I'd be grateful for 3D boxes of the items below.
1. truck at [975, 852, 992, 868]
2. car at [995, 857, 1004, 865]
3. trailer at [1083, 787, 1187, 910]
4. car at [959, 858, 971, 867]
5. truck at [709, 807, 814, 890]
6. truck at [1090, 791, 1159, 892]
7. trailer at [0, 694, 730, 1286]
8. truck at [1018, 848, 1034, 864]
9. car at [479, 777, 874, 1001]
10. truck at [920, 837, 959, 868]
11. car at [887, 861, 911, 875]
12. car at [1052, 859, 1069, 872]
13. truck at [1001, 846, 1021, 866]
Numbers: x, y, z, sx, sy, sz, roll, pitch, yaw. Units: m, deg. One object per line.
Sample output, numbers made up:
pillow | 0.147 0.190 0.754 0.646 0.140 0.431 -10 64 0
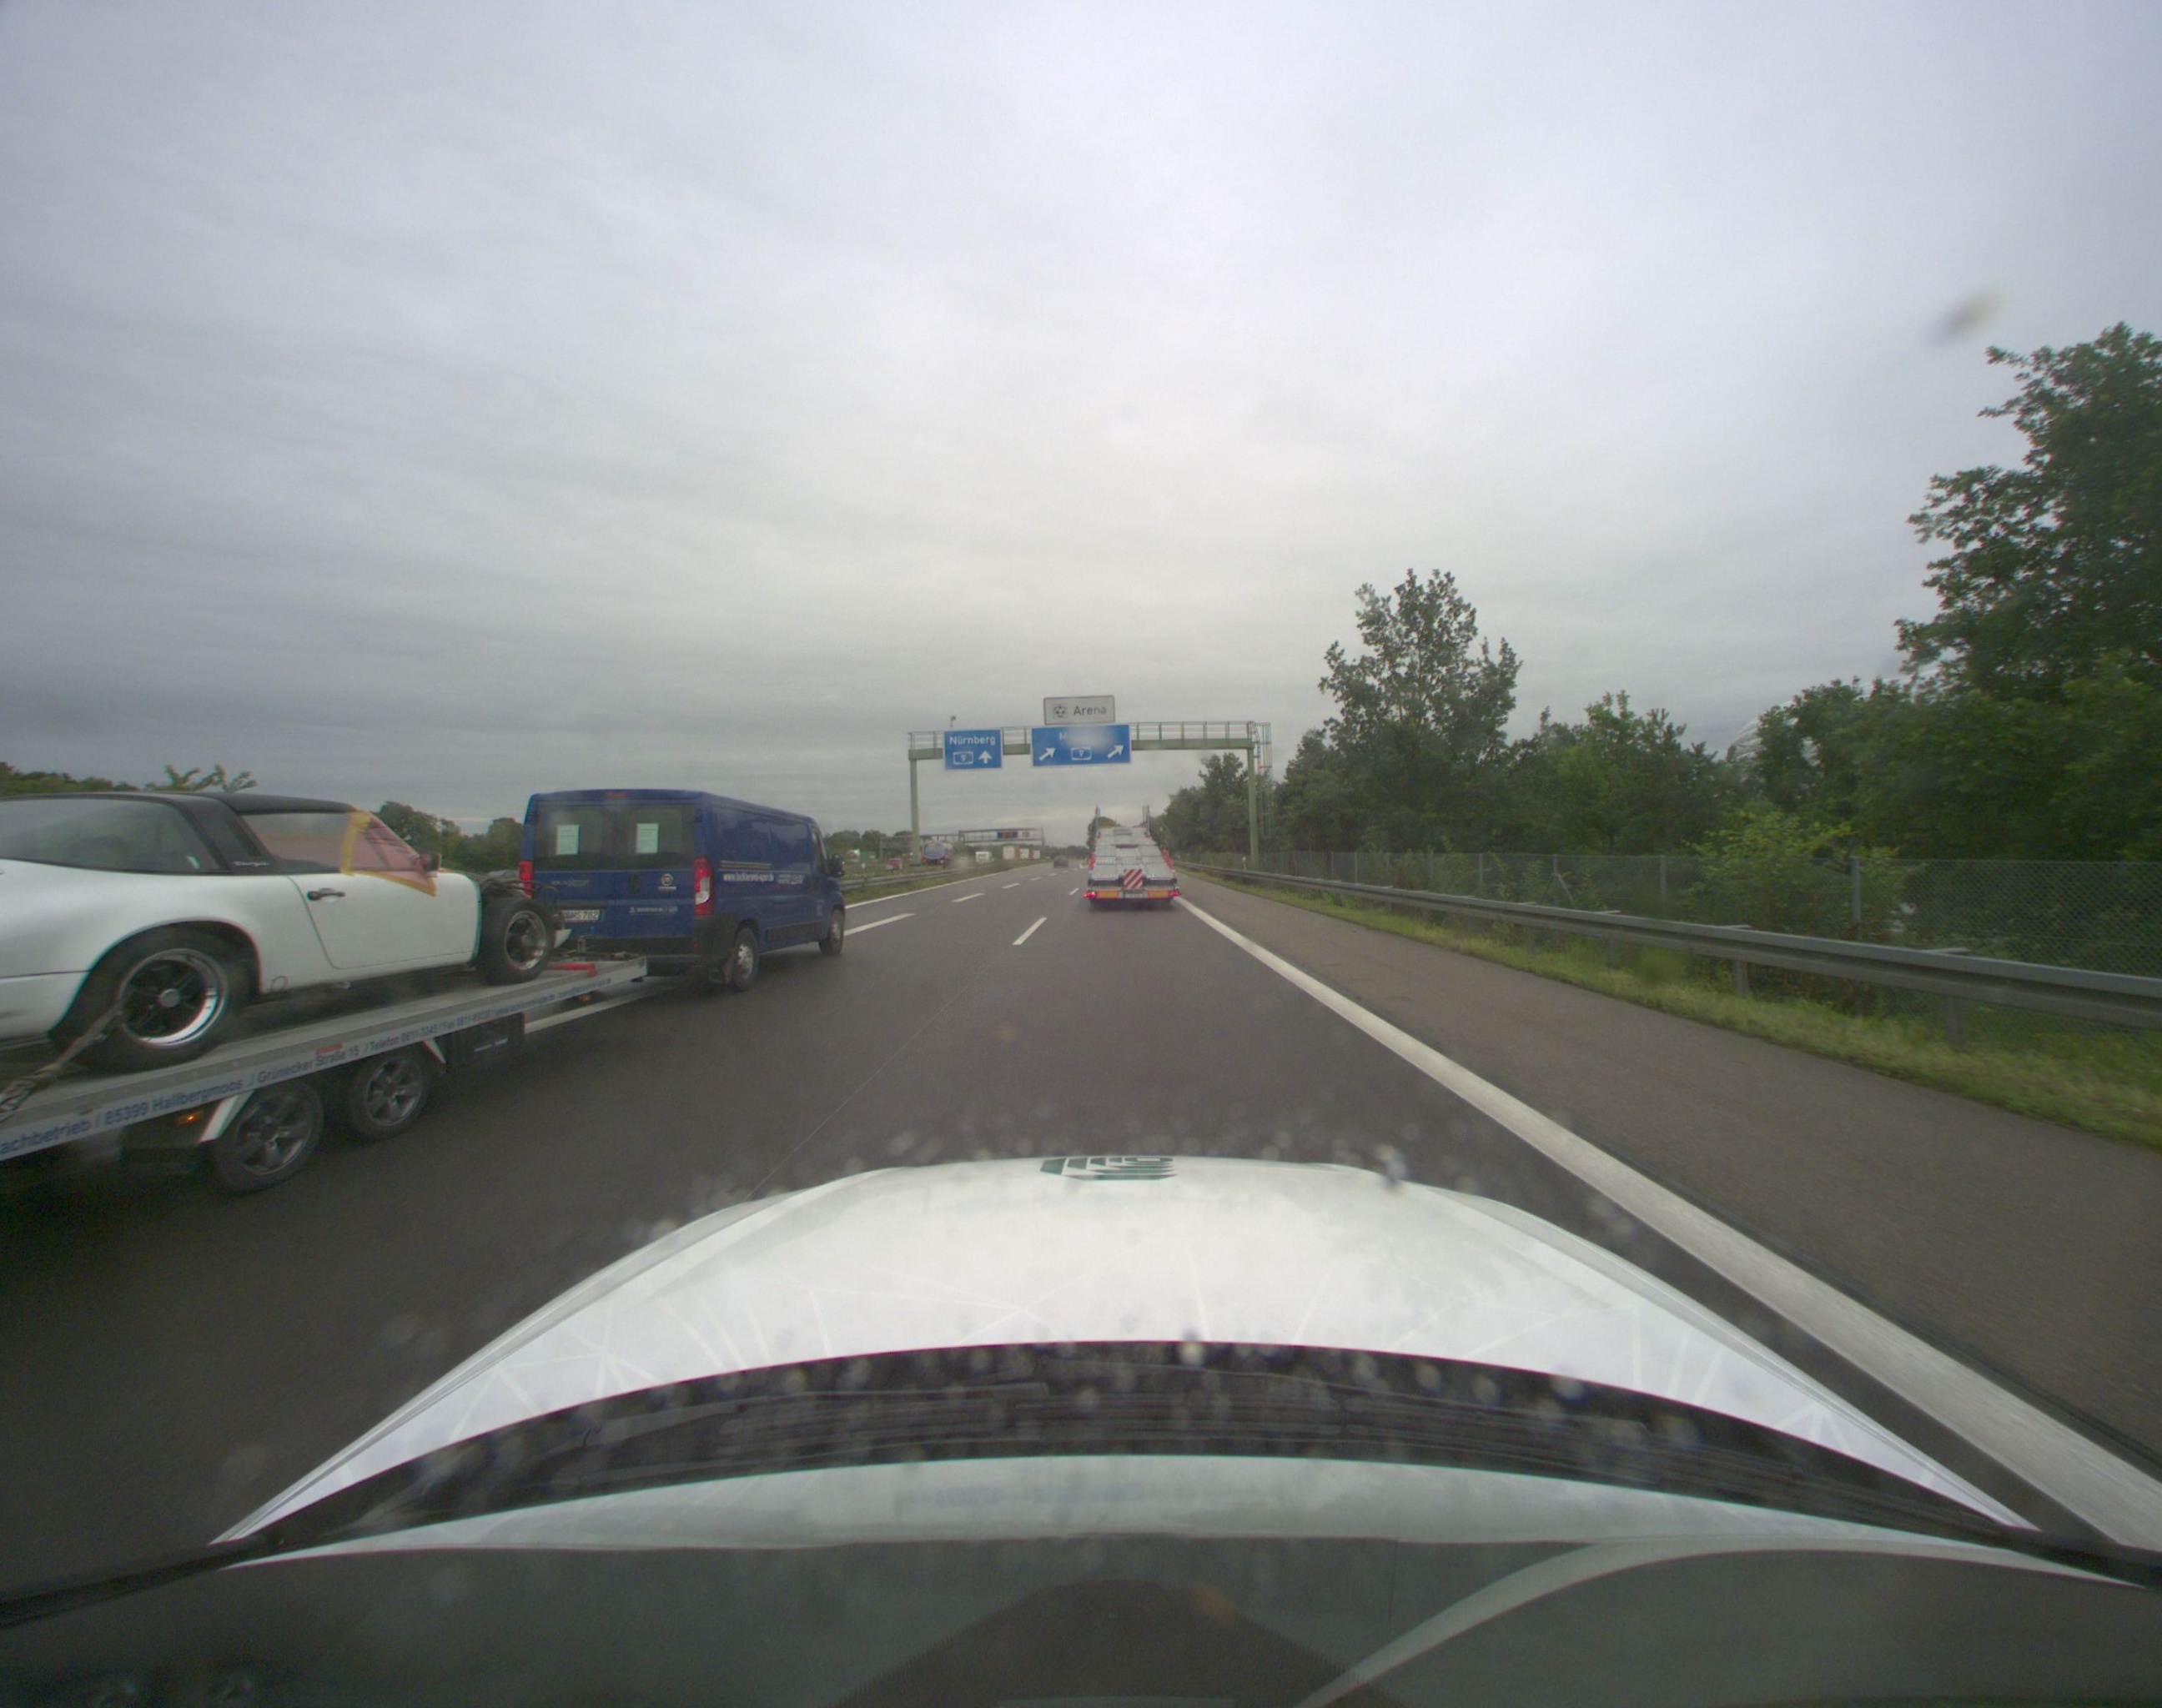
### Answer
truck | -16.254 0.959 136.100 2.235 2.704 5.279 0 0 0
car | -19.005 1.643 189.311 1.724 2.014 3.999 0 -1 0
trailer | 1.573 -0.151 26.993 2.767 3.285 10.410 0 0 1
car | -20.116 1.478 141.304 1.678 1.530 3.997 0 0 -2
truck | -15.949 -0.221 41.277 2.631 3.812 7.337 0 -1 -2
truck | 1.792 -0.487 36.776 2.729 3.967 9.129 0 0 1
trailer | -4.872 0.469 4.864 2.477 1.994 7.062 0 0 0
truck | -15.556 0.480 230.655 3.721 4.417 11.896 0 0 0
car | -4.877 0.362 11.366 2.365 2.266 6.255 0 0 0
truck | -15.905 -0.153 92.188 2.847 3.365 8.630 -1 0 0
car | -20.146 1.544 90.176 1.788 1.557 3.826 0 -1 0
car | -2.565 1.449 103.445 1.955 1.637 5.624 0 -1 0
truck | -15.773 0.442 184.589 3.721 4.417 10.194 0 0 0
